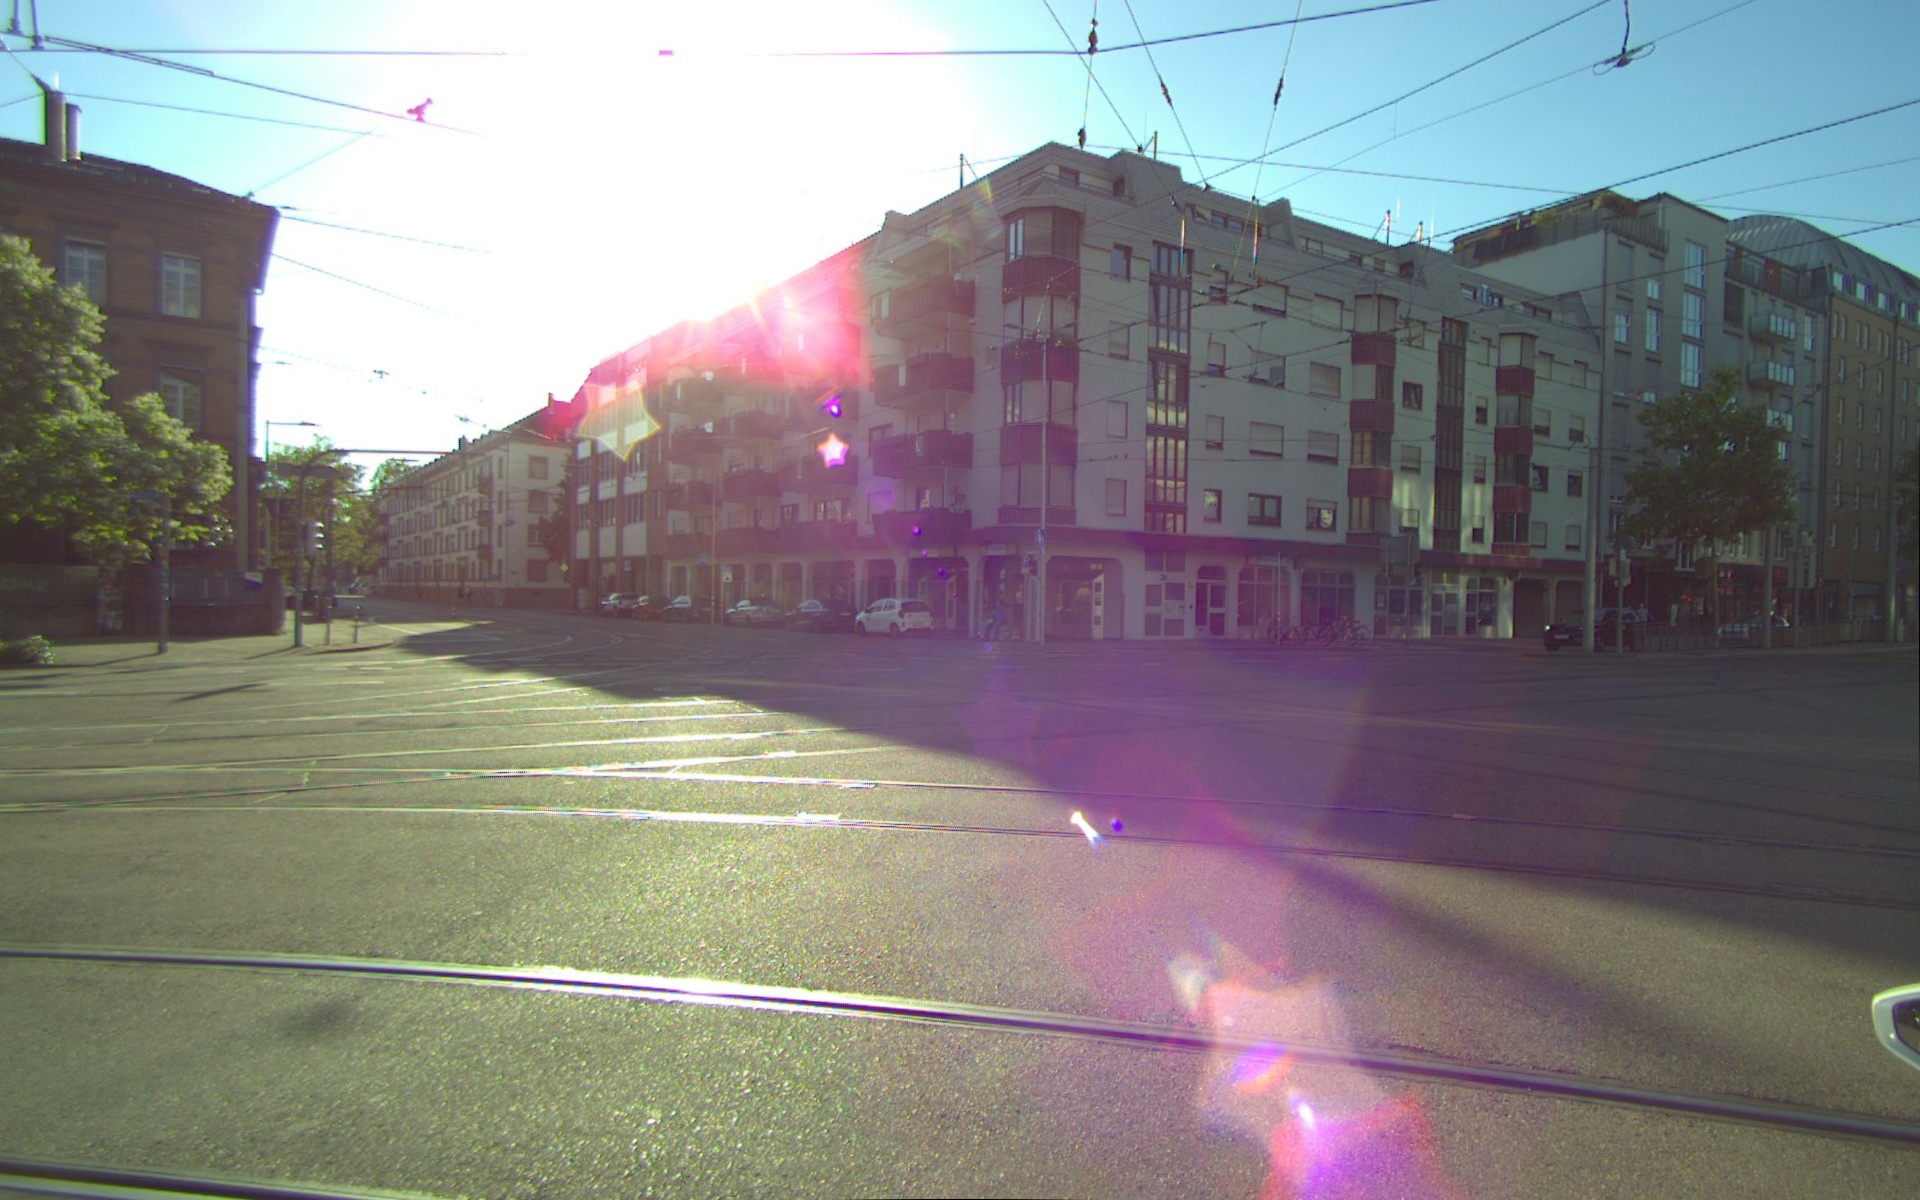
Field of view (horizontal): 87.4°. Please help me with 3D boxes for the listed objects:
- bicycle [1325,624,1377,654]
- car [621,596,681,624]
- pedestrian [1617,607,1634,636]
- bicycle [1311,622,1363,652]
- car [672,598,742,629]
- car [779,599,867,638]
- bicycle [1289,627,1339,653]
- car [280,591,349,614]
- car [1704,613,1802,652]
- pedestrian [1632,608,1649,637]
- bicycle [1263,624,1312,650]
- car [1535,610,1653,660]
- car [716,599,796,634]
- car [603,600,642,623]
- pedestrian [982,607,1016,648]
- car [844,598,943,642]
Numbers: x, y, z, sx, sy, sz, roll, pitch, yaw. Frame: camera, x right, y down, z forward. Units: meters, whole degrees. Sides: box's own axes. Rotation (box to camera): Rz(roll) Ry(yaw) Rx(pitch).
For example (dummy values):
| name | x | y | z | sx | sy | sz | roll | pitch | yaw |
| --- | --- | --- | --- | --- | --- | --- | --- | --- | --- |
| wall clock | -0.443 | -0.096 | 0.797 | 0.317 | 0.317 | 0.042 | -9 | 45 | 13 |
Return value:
| name | x | y | z | sx | sy | sz | roll | pitch | yaw |
| --- | --- | --- | --- | --- | --- | --- | --- | --- | --- |
| bicycle | 14.367 | 1.420 | 36.985 | 0.547 | 0.998 | 1.833 | 1 | 0 | -31 |
| car | -18.474 | 0.575 | 59.910 | 1.982 | 1.576 | 4.536 | 1 | 0 | -37 |
| pedestrian | 35.328 | 1.152 | 53.321 | 0.581 | 1.514 | 0.531 | 1 | 0 | -32 |
| bicycle | 13.792 | 1.336 | 36.787 | 0.547 | 0.998 | 1.833 | 1 | 0 | -31 |
| car | -13.506 | 0.697 | 53.444 | 1.982 | 1.576 | 4.536 | 1 | 0 | -37 |
| car | -5.894 | 0.763 | 42.957 | 1.982 | 1.576 | 4.079 | 1 | 0 | -37 |
| bicycle | 12.715 | 1.419 | 36.131 | 0.546 | 0.865 | 1.836 | 1 | 0 | -26 |
| car | -46.111 | 0.168 | 71.801 | 3.966 | 1.595 | 1.978 | 1 | 0 | -39 |
| car | 34.417 | 1.384 | 43.602 | 4.210 | 1.616 | 1.945 | 1 | 0 | -30 |
| pedestrian | 35.754 | 1.176 | 52.797 | 0.581 | 1.514 | 0.531 | 1 | 0 | -32 |
| bicycle | 11.811 | 1.320 | 36.296 | 0.546 | 0.865 | 1.836 | 1 | 0 | -26 |
| car | 23.321 | 1.249 | 36.916 | 4.210 | 1.695 | 1.945 | 1 | 0 | -30 |
| car | -9.814 | 0.760 | 48.033 | 1.982 | 1.576 | 4.536 | 1 | 0 | -37 |
| car | -21.417 | 0.725 | 63.737 | 1.447 | 1.351 | 3.150 | 1 | 0 | -36 |
| pedestrian | 1.378 | 0.951 | 35.455 | 0.830 | 1.403 | 0.849 | 1 | 0 | -40 |
| car | -2.607 | 0.737 | 38.884 | 1.982 | 1.576 | 3.957 | 1 | 0 | -37 |
